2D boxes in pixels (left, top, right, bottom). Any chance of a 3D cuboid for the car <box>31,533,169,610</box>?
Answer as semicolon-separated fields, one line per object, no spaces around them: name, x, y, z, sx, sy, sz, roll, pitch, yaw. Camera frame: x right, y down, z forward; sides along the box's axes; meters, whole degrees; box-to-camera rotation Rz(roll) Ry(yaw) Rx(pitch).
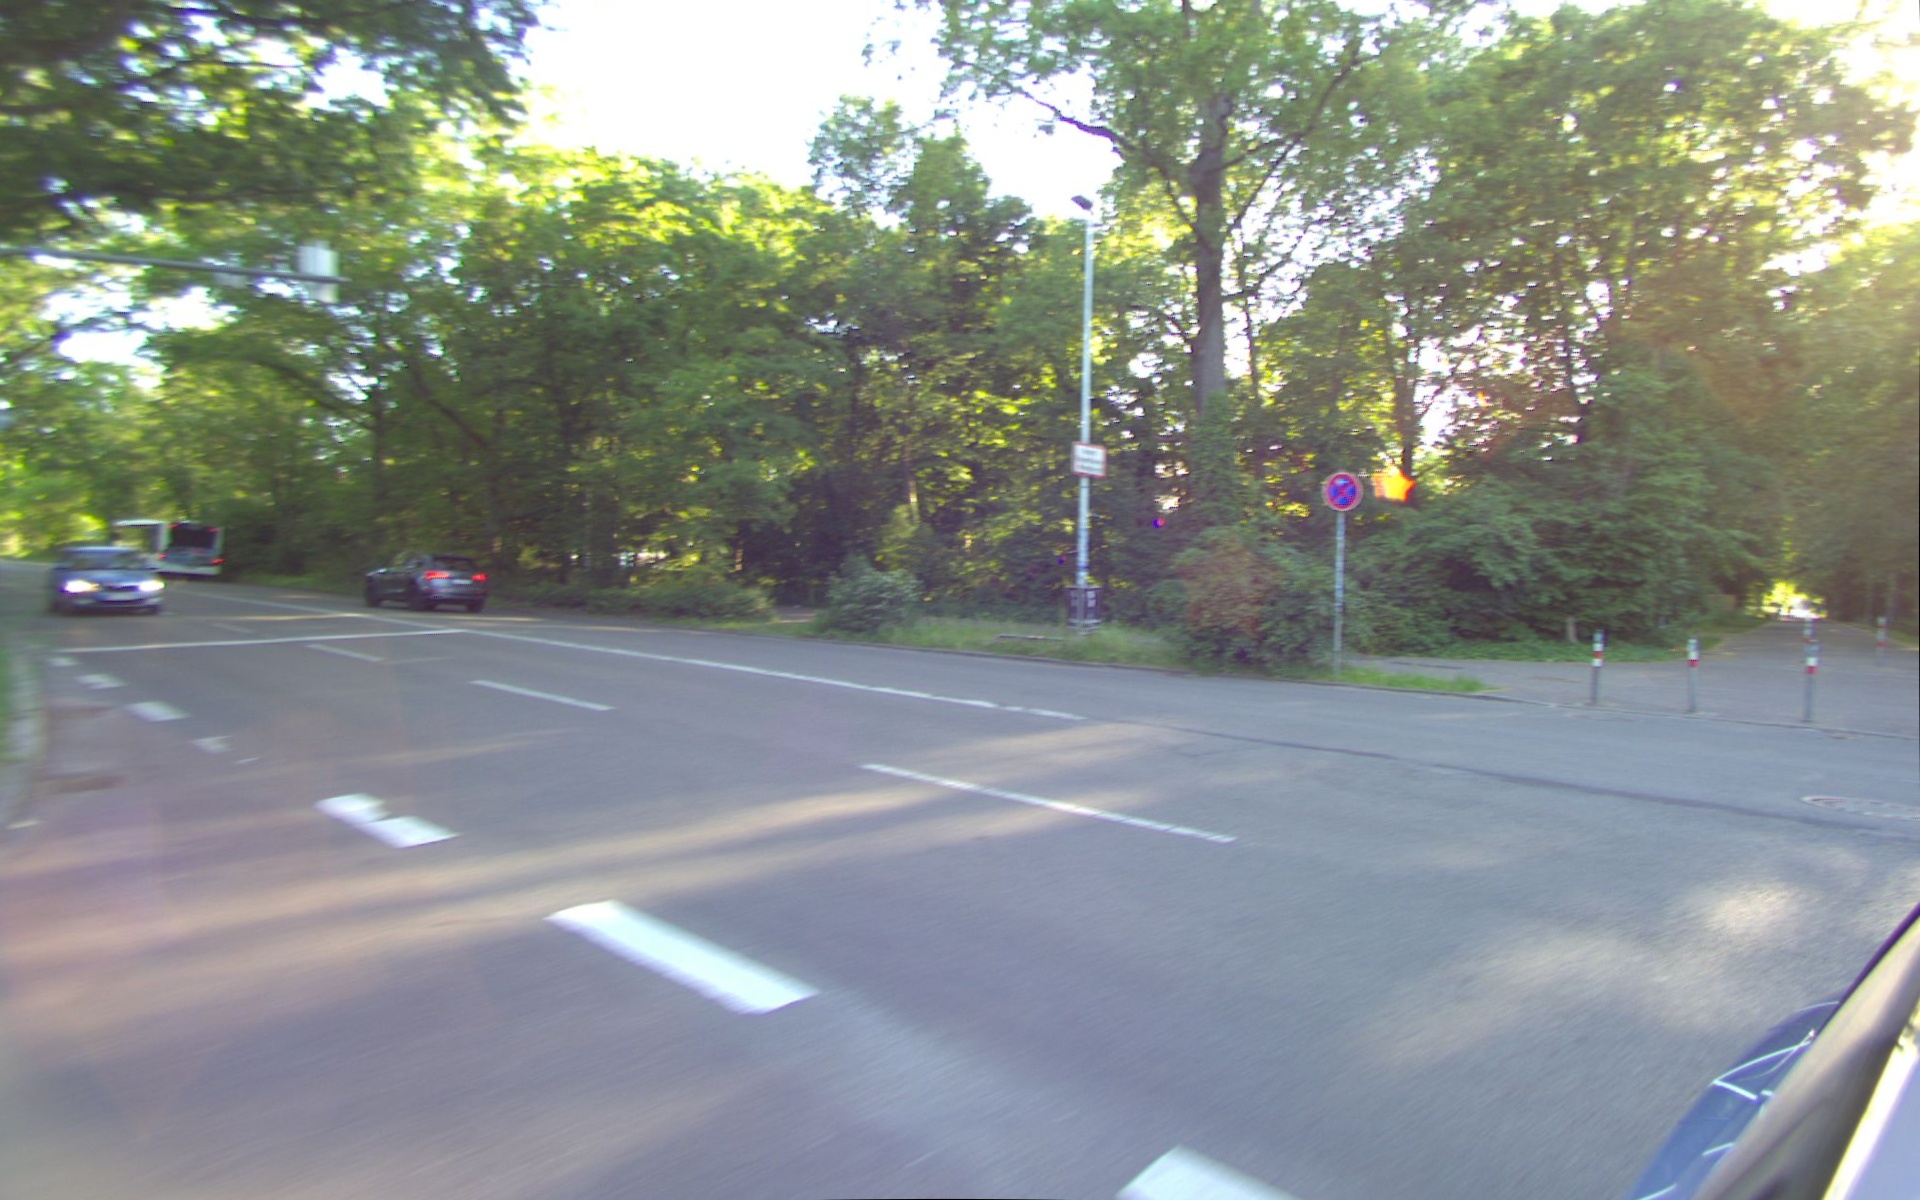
car;-19.649;-0.721;23.064;4.303;1.599;1.786;4;4;41

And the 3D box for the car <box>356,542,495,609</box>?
car;-15.131;-0.713;28.575;4.345;1.627;1.964;3;-1;41

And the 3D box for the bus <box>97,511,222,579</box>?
bus;-43.177;-2.984;54.334;12.222;3.126;2.976;4;0;41
